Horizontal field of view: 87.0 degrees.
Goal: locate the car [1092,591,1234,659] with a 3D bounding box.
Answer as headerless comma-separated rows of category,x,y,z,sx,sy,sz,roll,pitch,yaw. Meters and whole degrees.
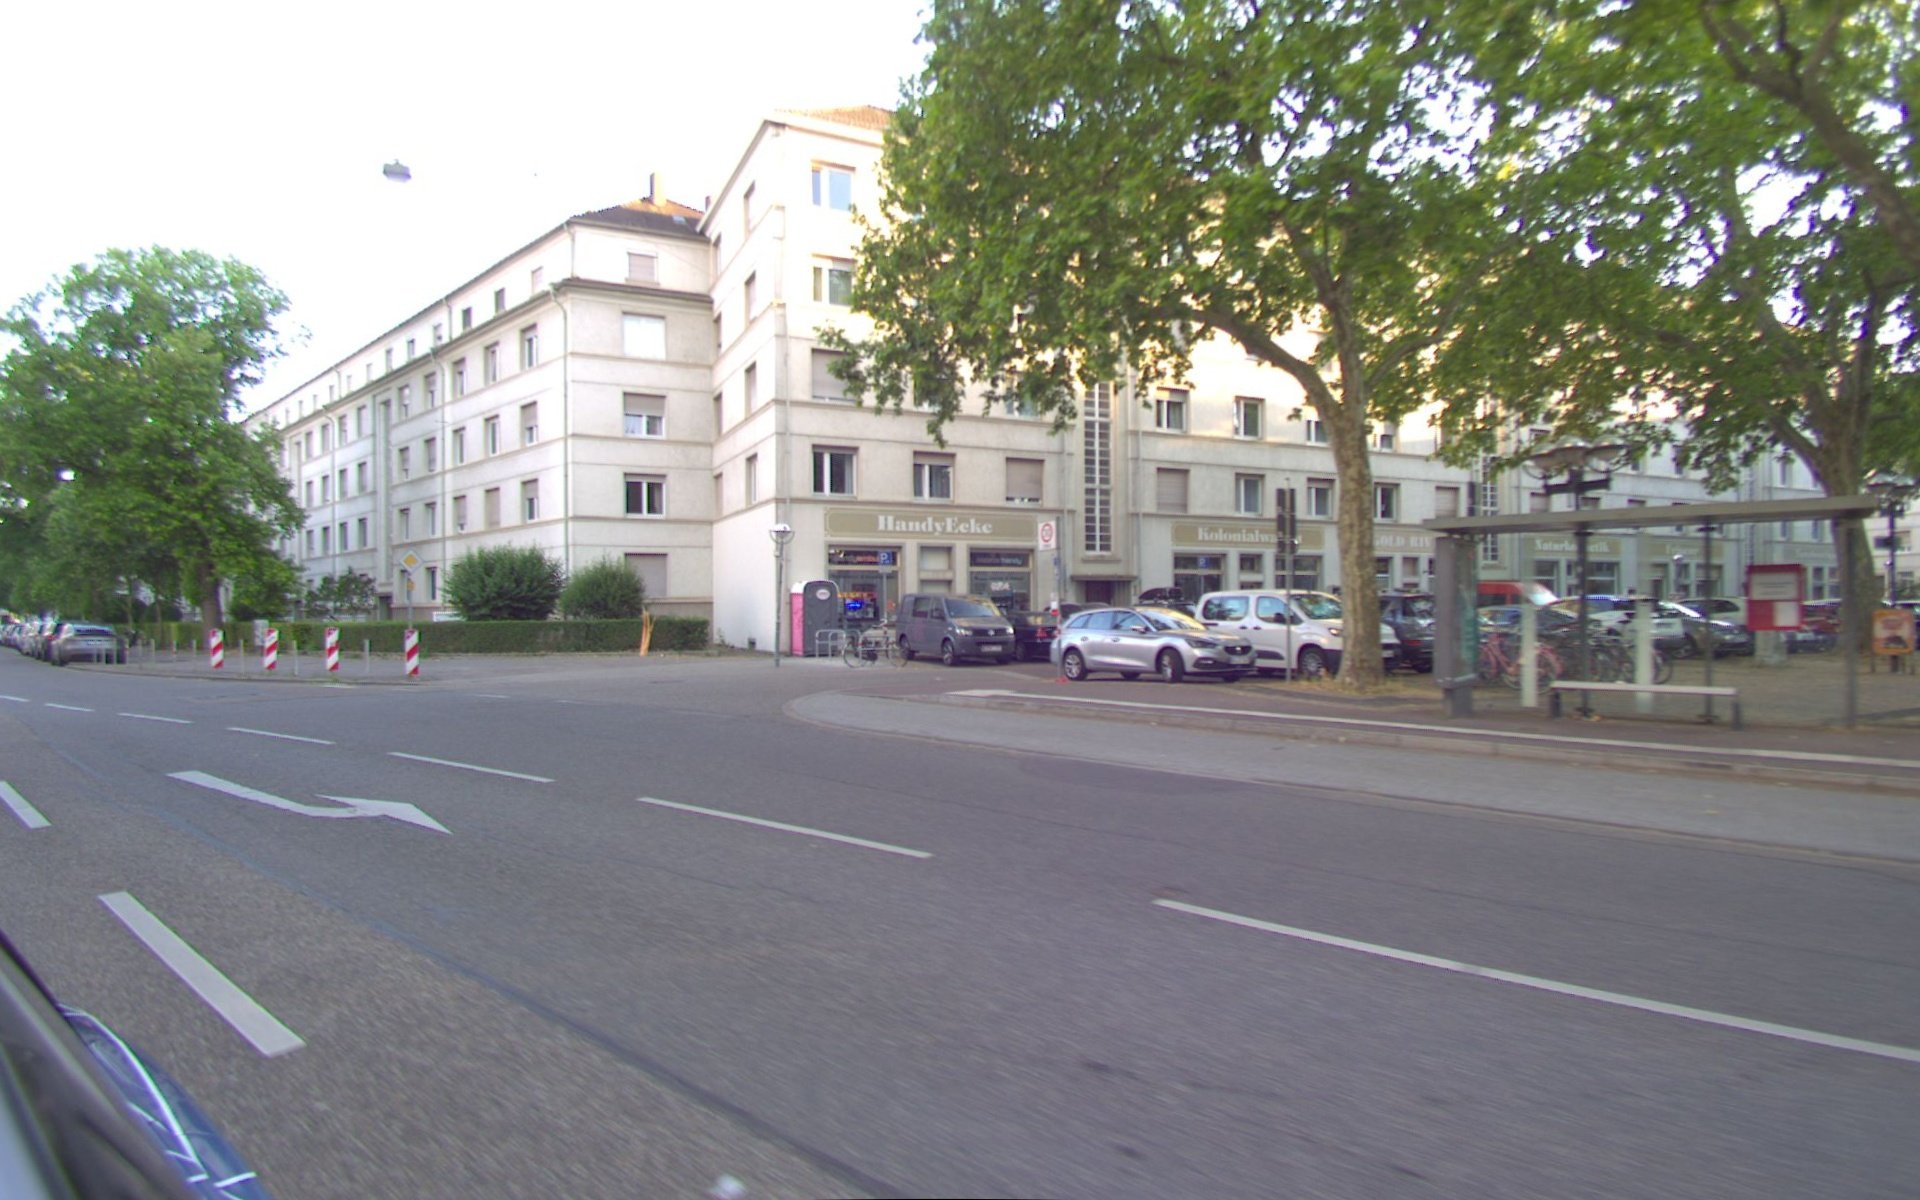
car,6.354,0.729,32.245,1.965,1.970,4.656,1,0,-26

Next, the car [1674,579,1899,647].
car,24.113,0.444,29.737,1.965,1.795,4.655,1,-3,-28

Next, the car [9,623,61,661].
car,-47.917,2.151,52.399,1.867,1.787,4.263,-1,0,-44

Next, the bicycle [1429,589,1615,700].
bicycle,8.976,0.660,16.358,0.680,1.626,2.754,-1,0,-24

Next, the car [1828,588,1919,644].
car,32.018,0.525,33.386,1.965,1.795,4.655,1,-3,-28

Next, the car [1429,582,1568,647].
car,21.591,0.539,40.814,1.965,2.460,4.656,1,0,-26

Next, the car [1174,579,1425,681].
car,6.644,0.650,20.405,1.965,1.795,4.655,1,-3,-28

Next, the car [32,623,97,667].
car,-38.311,1.873,43.259,1.867,1.703,4.263,-1,0,-44

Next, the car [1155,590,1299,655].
car,8.647,0.688,33.241,1.965,1.970,4.656,1,0,-26

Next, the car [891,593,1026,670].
car,-0.159,0.811,28.721,1.965,1.970,4.656,1,0,-26

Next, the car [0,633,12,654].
car,-78.288,3.516,82.181,1.867,1.612,4.263,-1,0,-44

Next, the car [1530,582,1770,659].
car,17.530,0.597,26.009,1.965,1.795,4.655,1,-3,-28

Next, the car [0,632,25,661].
car,-65.067,3.138,68.968,1.867,1.840,4.263,-1,0,-44

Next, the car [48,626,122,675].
car,-32.580,1.837,37.655,1.867,1.612,4.003,-1,0,-44

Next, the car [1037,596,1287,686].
car,3.730,0.811,19.539,1.967,1.515,4.652,1,-3,-35

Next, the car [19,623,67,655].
car,-51.439,2.143,56.766,1.867,1.612,4.263,-1,0,-44

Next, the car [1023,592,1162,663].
car,3.944,0.774,31.063,1.965,1.970,4.656,1,0,-26

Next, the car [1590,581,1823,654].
car,20.102,0.554,27.507,1.965,1.795,4.655,1,-3,-28

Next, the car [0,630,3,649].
car,-88.953,3.658,92.679,1.867,1.612,4.263,-1,0,-44

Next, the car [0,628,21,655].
car,-71.324,3.089,75.462,1.867,1.879,4.263,-1,0,-44

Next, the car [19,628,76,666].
car,-43.581,2.197,48.313,1.867,1.612,4.263,-1,0,-44

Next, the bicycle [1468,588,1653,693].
bicycle,10.155,0.637,17.285,0.795,1.626,2.754,-1,0,-24

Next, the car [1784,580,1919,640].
car,29.673,0.350,32.375,2.057,1.795,4.655,1,-3,-28

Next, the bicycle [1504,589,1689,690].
bicycle,11.095,0.647,17.800,0.795,1.626,2.754,-1,0,-24

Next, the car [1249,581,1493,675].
car,8.689,0.651,21.862,1.965,1.795,4.655,1,-3,-28

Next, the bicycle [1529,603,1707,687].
bicycle,11.808,0.760,18.313,0.680,1.394,2.754,-1,0,-24

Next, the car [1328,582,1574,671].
car,10.846,0.656,22.764,1.965,1.795,4.655,1,-3,-28

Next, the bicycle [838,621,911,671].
bicycle,-2.237,1.187,26.313,1.776,1.215,0.649,-1,0,-16

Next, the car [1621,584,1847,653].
car,21.945,0.597,28.927,1.965,1.795,4.655,1,-3,-28

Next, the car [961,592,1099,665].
car,1.959,0.761,29.969,1.965,1.970,4.656,1,0,-26

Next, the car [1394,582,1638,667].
car,12.901,0.637,23.845,1.965,1.795,4.655,1,-3,-28

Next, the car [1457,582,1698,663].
car,15.026,0.615,24.926,1.965,1.795,4.655,1,-3,-28
